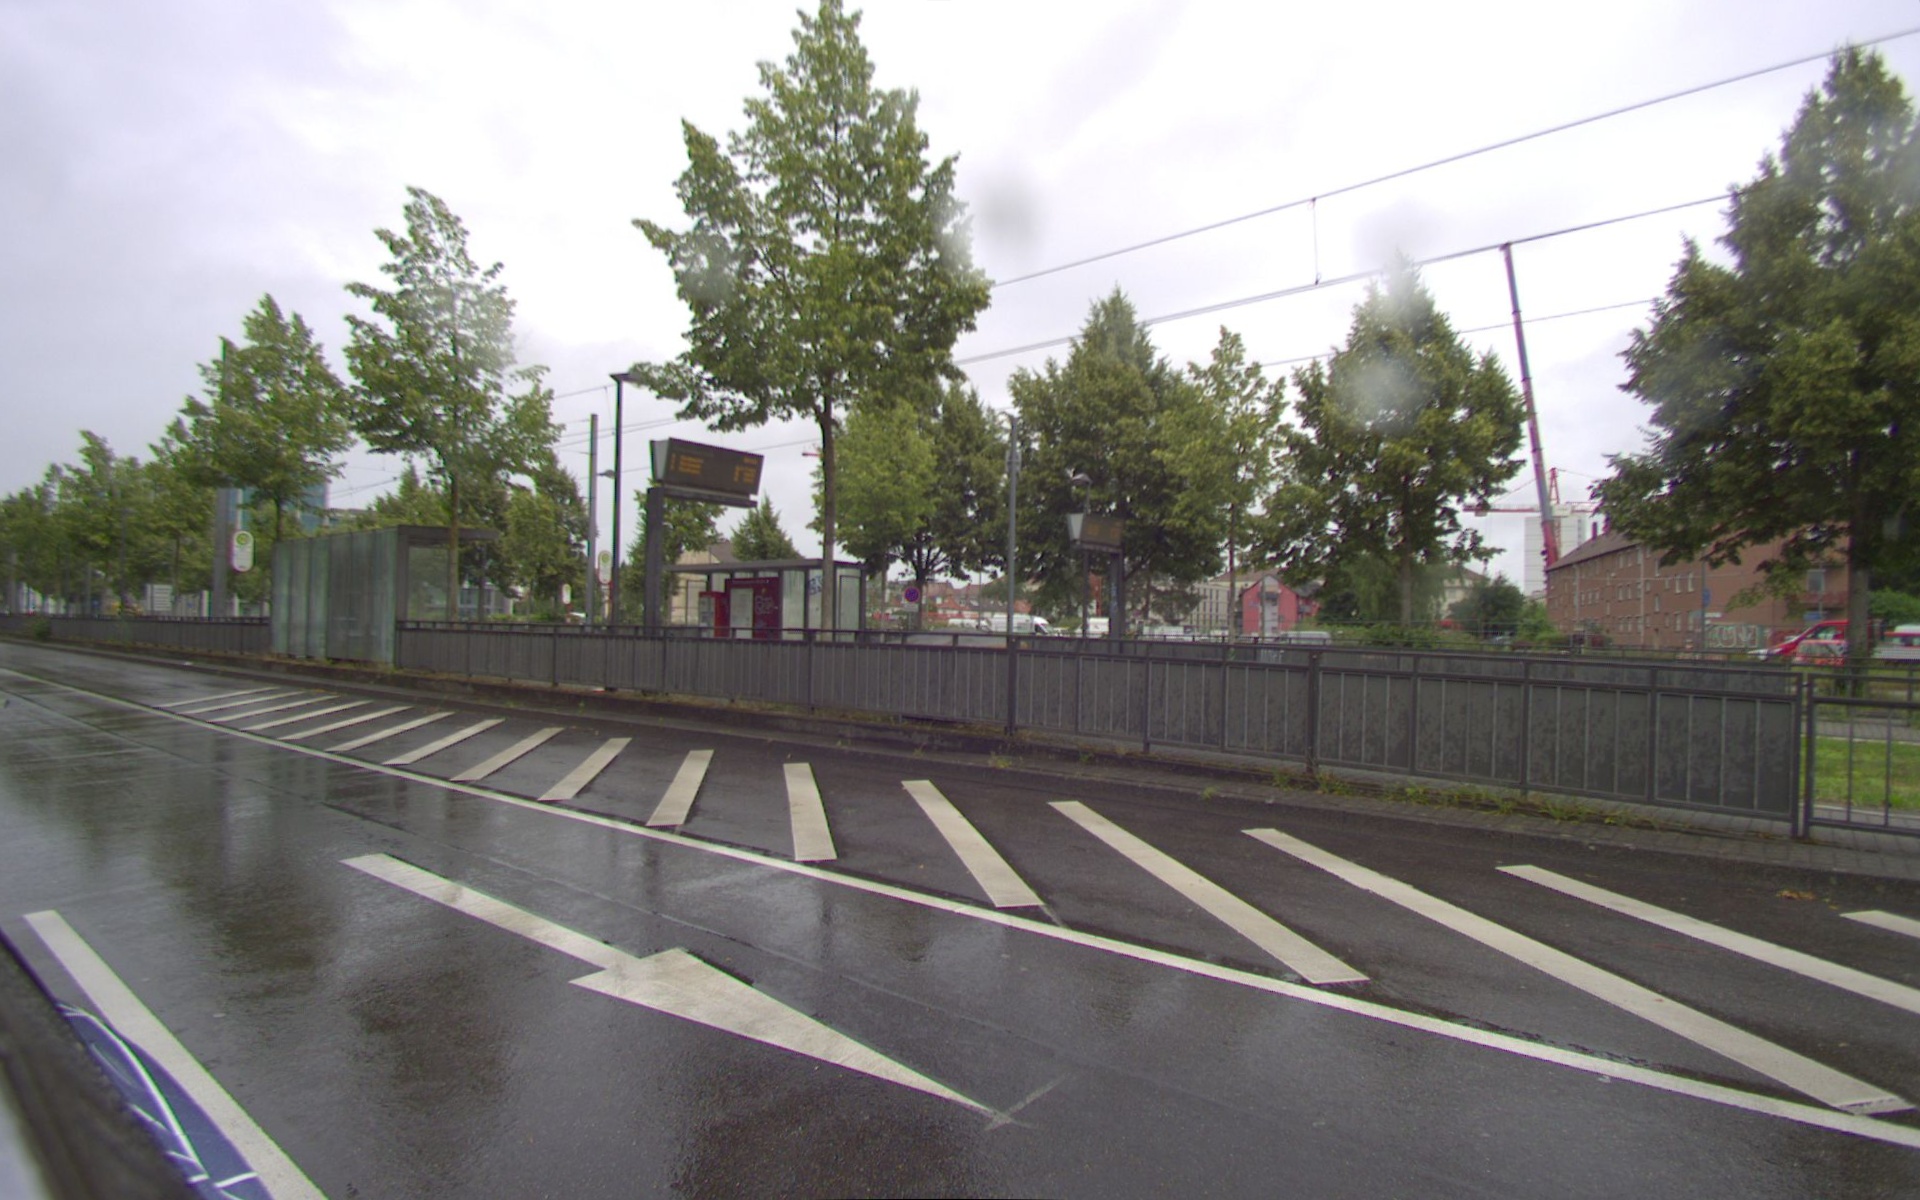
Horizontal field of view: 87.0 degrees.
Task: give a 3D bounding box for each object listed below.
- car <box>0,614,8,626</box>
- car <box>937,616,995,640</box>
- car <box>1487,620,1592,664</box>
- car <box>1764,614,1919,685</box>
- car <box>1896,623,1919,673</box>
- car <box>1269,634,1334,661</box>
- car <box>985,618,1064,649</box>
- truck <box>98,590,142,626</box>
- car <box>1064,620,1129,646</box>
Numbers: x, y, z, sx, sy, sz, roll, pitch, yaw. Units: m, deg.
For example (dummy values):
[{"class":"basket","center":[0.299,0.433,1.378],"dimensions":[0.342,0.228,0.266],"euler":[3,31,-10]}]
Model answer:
[{"class":"car","center":[-157.760,3.275,165.563],"dimensions":[3.989,1.759,1.977],"euler":[0,0,34]},{"class":"car","center":[0.620,2.970,108.310],"dimensions":[6.123,2.323,1.978],"euler":[0,0,32]},{"class":"car","center":[35.805,2.544,62.557],"dimensions":[5.482,2.471,1.976],"euler":[0,0,36]},{"class":"car","center":[33.441,1.758,36.681],"dimensions":[1.597,2.489,6.500],"euler":[2,-2,-39]},{"class":"car","center":[45.925,2.161,44.995],"dimensions":[1.597,2.296,6.114],"euler":[2,-3,-37]},{"class":"car","center":[26.279,3.657,77.900],"dimensions":[4.415,1.891,1.855],"euler":[0,0,34]},{"class":"car","center":[5.406,2.788,85.783],"dimensions":[6.735,2.480,1.975],"euler":[0,0,37]},{"class":"truck","center":[-93.320,0.876,112.349],"dimensions":[9.184,3.806,2.657],"euler":[0,0,43]},{"class":"car","center":[11.948,2.884,88.798],"dimensions":[5.412,2.067,1.976],"euler":[0,0,37]}]
